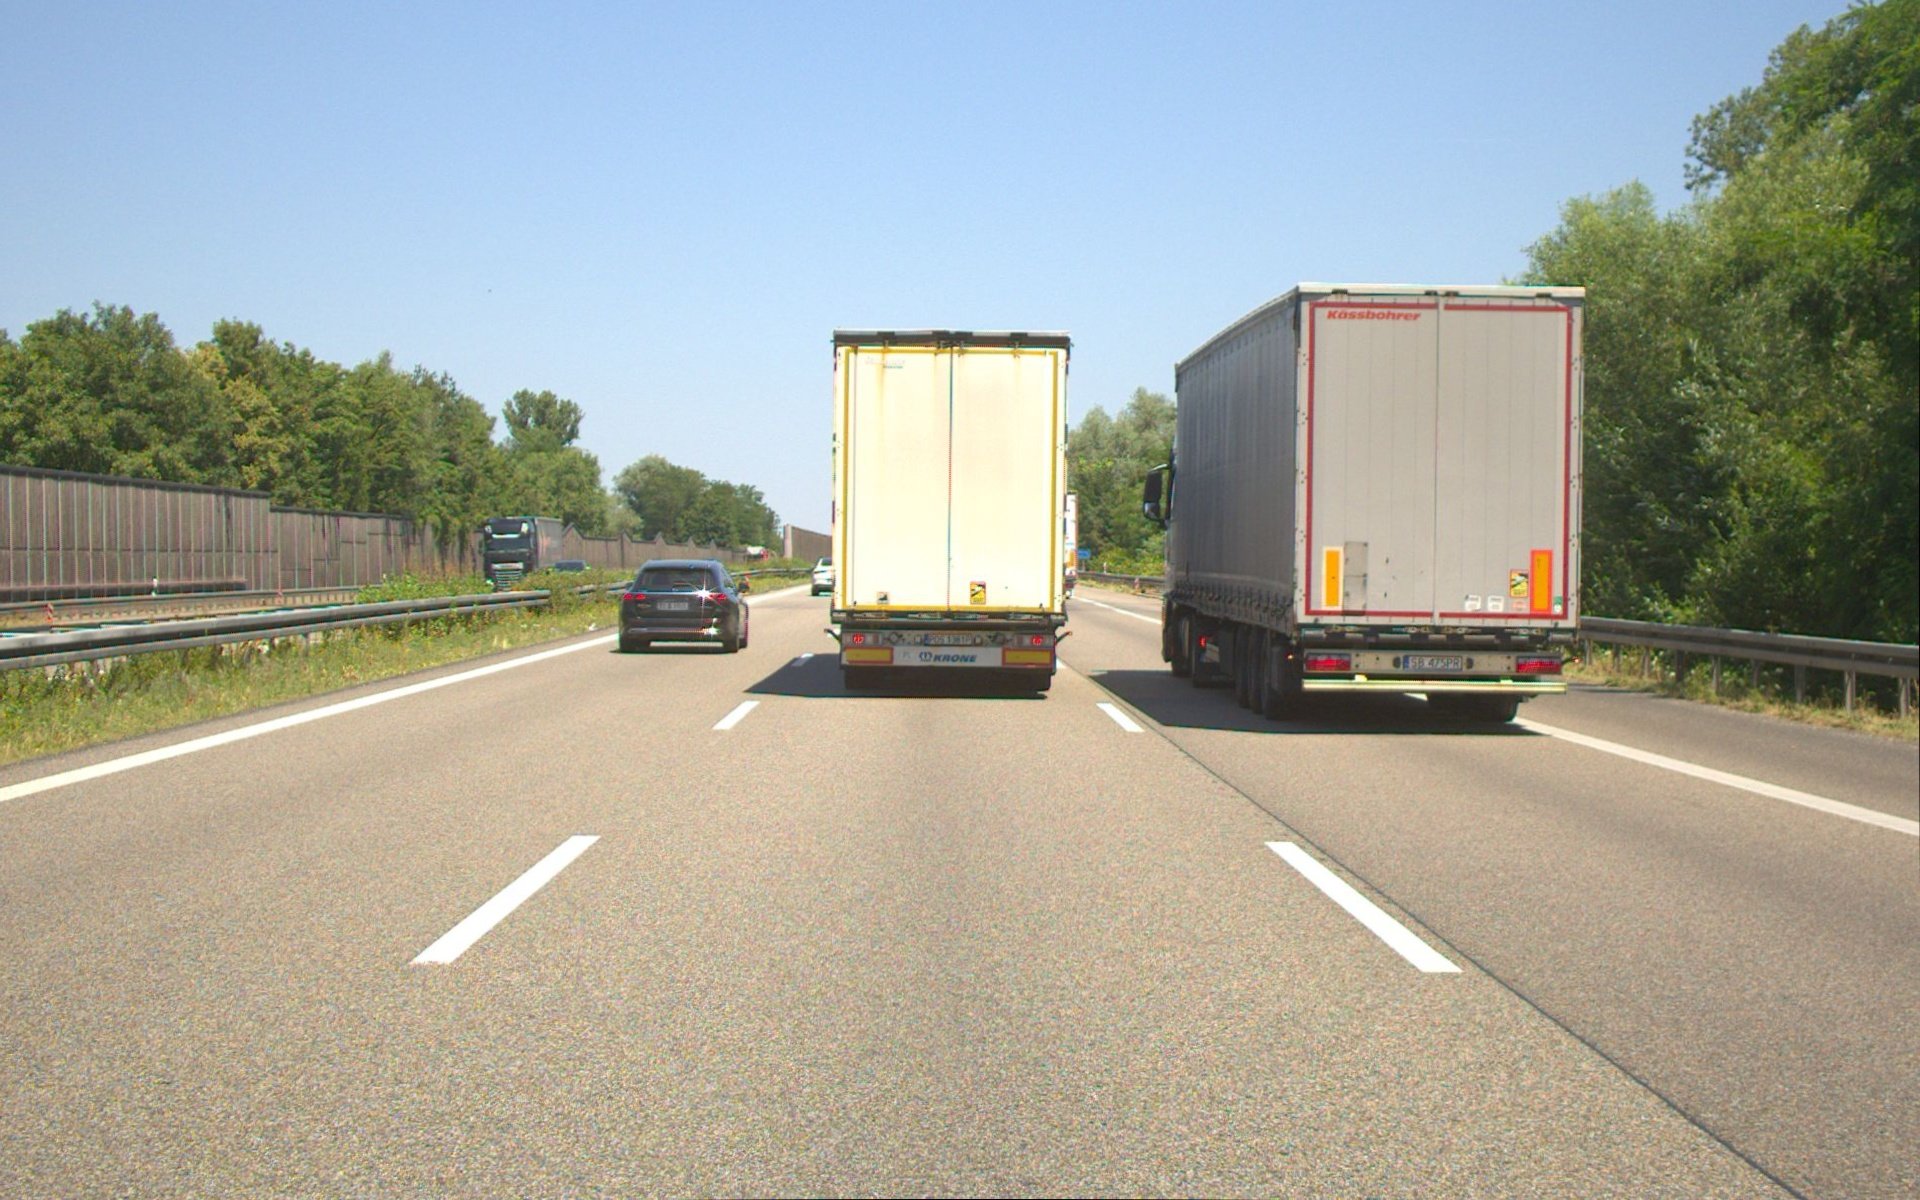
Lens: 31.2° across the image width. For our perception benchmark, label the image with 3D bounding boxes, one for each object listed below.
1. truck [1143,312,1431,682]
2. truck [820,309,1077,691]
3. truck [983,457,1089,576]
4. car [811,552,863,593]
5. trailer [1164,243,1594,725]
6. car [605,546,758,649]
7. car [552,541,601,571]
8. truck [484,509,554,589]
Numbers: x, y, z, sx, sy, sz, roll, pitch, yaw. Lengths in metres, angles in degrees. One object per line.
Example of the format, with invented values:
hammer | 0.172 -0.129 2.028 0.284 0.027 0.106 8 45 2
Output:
truck | 3.965 -1.245 43.422 2.691 4.201 7.839 -1 1 -1
truck | -0.245 -1.189 43.802 2.707 4.071 13.475 -1 1 -1
truck | 2.839 -3.169 131.873 3.374 4.289 11.451 1 1 -2
car | -4.724 -1.077 132.866 1.855 1.481 4.000 -2 1 -1
trailer | 4.082 -1.129 36.877 2.703 4.201 13.213 -1 1 -1
car | -4.483 -0.083 56.147 1.943 1.501 5.821 -2 1 0
car | -18.753 -2.168 168.099 1.959 1.428 4.881 -1 1 -2
truck | -23.000 -2.666 179.567 2.727 4.071 7.839 -1 1 -1
